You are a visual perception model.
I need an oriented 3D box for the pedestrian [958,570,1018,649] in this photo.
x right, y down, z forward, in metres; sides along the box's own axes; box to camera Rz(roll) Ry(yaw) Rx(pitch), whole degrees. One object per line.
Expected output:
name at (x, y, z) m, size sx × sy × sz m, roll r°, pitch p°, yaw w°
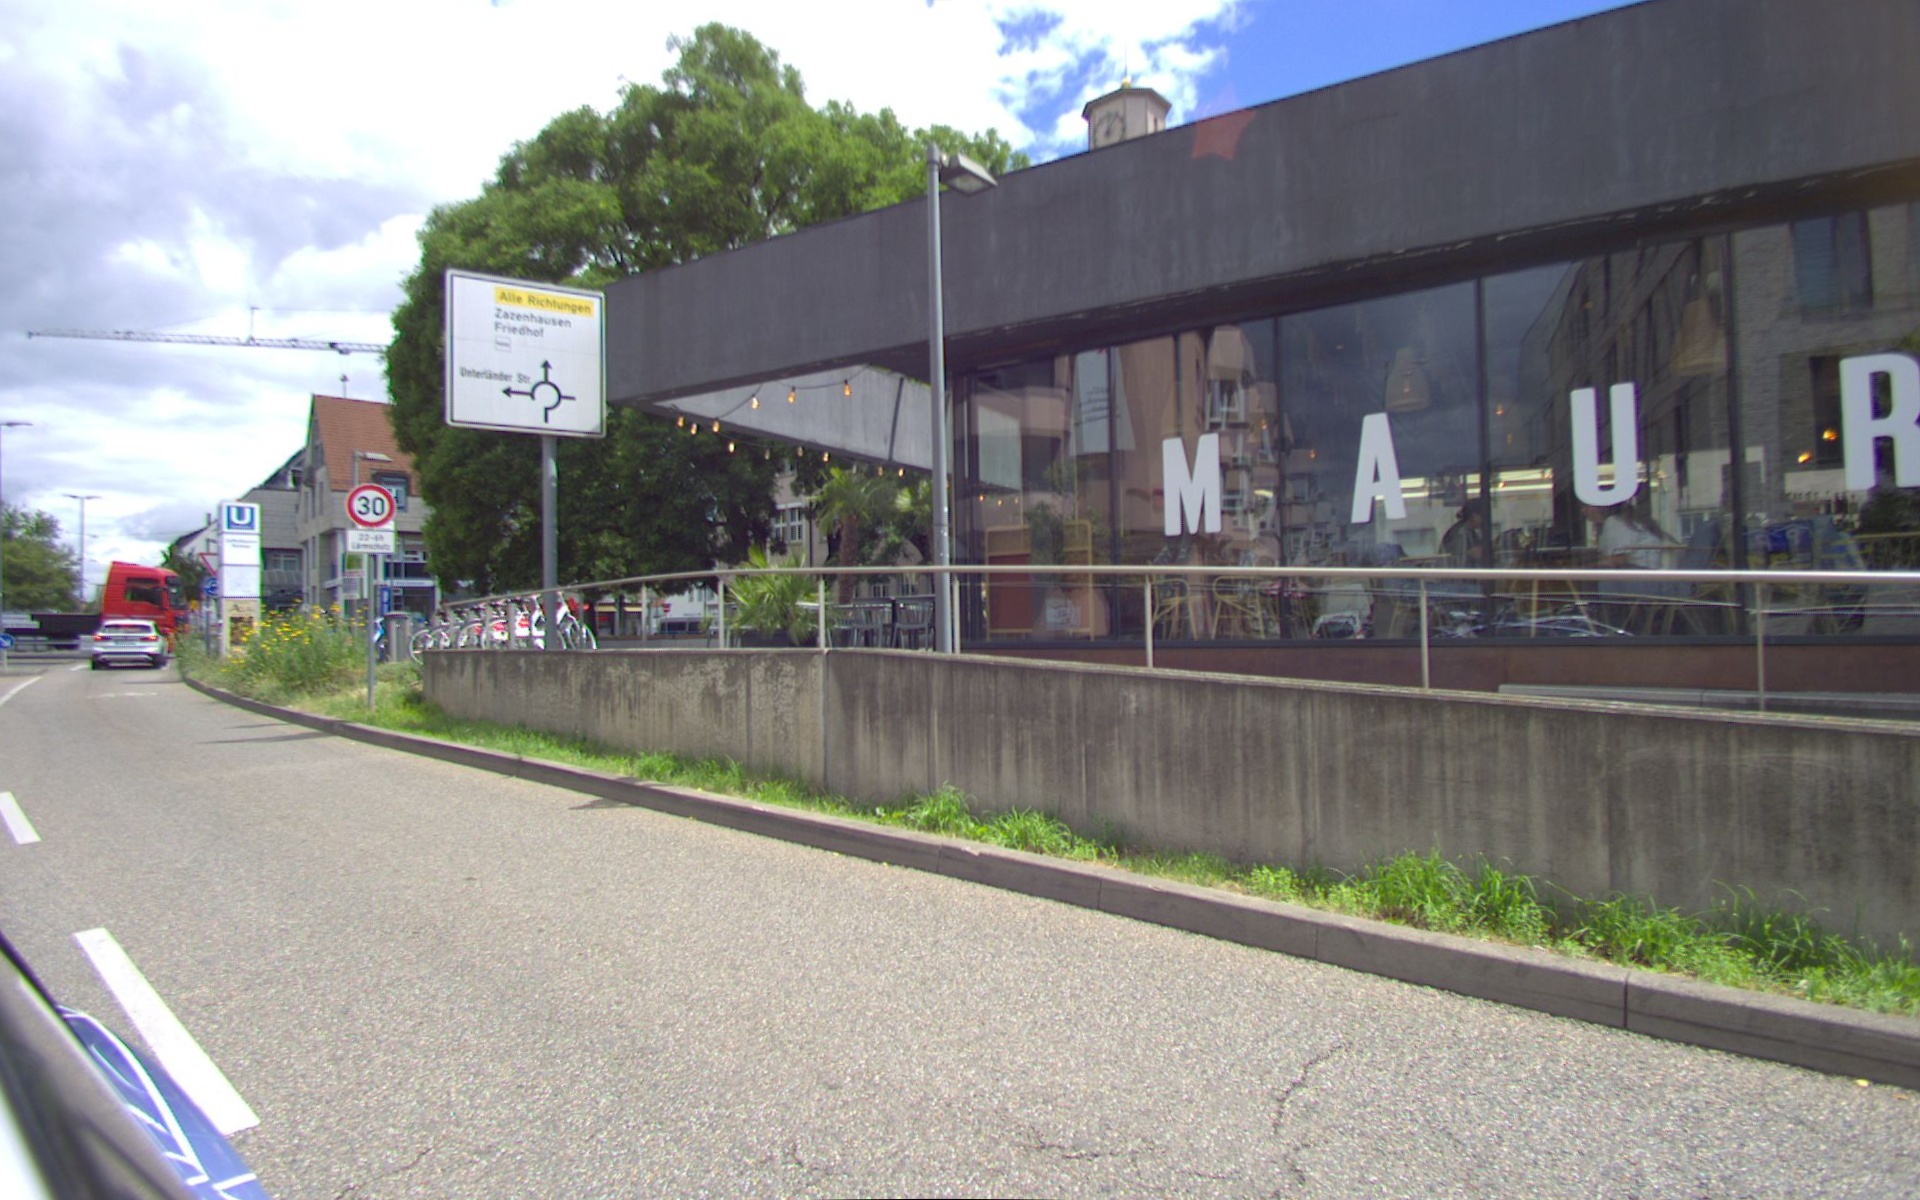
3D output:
pedestrian at (0.513, 0.163, 18.306) m, size 0.790 × 1.390 × 0.792 m, roll -1°, pitch 0°, yaw 32°

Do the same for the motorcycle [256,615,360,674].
motorcycle at (-16.871, 1.123, 26.243) m, size 0.648 × 1.460 × 2.165 m, roll -1°, pitch -1°, yaw 43°

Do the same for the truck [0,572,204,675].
truck at (-36.517, 0.879, 39.678) m, size 10.660 × 3.871 × 2.692 m, roll -1°, pitch 0°, yaw -23°

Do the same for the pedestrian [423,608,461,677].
pedestrian at (-12.847, 1.054, 25.092) m, size 0.651 × 1.641 × 0.801 m, roll -1°, pitch -2°, yaw -38°

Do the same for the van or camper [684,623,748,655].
van or camper at (-19.356, 3.101, 80.360) m, size 4.640 × 2.400 × 1.987 m, roll -1°, pitch -1°, yaw 20°

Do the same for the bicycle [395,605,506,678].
bicycle at (-8.259, 0.660, 16.442) m, size 0.534 × 1.136 × 1.529 m, roll -3°, pitch -3°, yaw 44°

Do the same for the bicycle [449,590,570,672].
bicycle at (-6.534, 0.450, 14.729) m, size 0.534 × 1.136 × 1.529 m, roll -3°, pitch -3°, yaw 44°

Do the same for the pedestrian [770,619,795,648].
pedestrian at (-7.902, 1.497, 45.015) m, size 0.690 × 1.235 × 0.806 m, roll -4°, pitch -2°, yaw 40°

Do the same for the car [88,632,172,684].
car at (-27.531, 1.884, 33.675) m, size 1.798 × 1.597 × 4.175 m, roll 2°, pitch -3°, yaw -35°

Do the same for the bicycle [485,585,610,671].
bicycle at (-5.725, 0.388, 14.087) m, size 0.534 × 1.136 × 1.529 m, roll -3°, pitch -3°, yaw 44°

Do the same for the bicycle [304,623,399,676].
bicycle at (-12.970, 1.043, 21.612) m, size 0.515 × 1.090 × 1.669 m, roll -4°, pitch -4°, yaw 40°

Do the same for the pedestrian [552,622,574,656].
pedestrian at (-19.743, 1.940, 50.319) m, size 0.817 × 1.688 × 0.681 m, roll -4°, pitch -3°, yaw 41°

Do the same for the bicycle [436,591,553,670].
bicycle at (-7.016, 0.461, 15.295) m, size 0.534 × 1.136 × 1.529 m, roll -3°, pitch -3°, yaw 44°

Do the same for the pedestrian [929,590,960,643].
pedestrian at (-0.548, 0.594, 36.551) m, size 0.652 × 1.864 × 0.830 m, roll 0°, pitch -3°, yaw -45°

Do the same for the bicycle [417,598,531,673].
bicycle at (-7.623, 0.549, 15.919) m, size 0.534 × 1.136 × 1.529 m, roll -3°, pitch -3°, yaw 44°

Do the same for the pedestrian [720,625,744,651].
pedestrian at (-10.773, 1.811, 47.841) m, size 0.690 × 1.184 × 0.806 m, roll -4°, pitch -2°, yaw 40°

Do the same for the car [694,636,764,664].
car at (-14.656, 3.127, 64.294) m, size 4.010 × 1.551 × 1.750 m, roll -1°, pitch 0°, yaw -38°

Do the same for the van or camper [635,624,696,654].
van or camper at (-24.725, 3.275, 85.022) m, size 4.640 × 2.400 × 1.987 m, roll -1°, pitch -1°, yaw 20°
